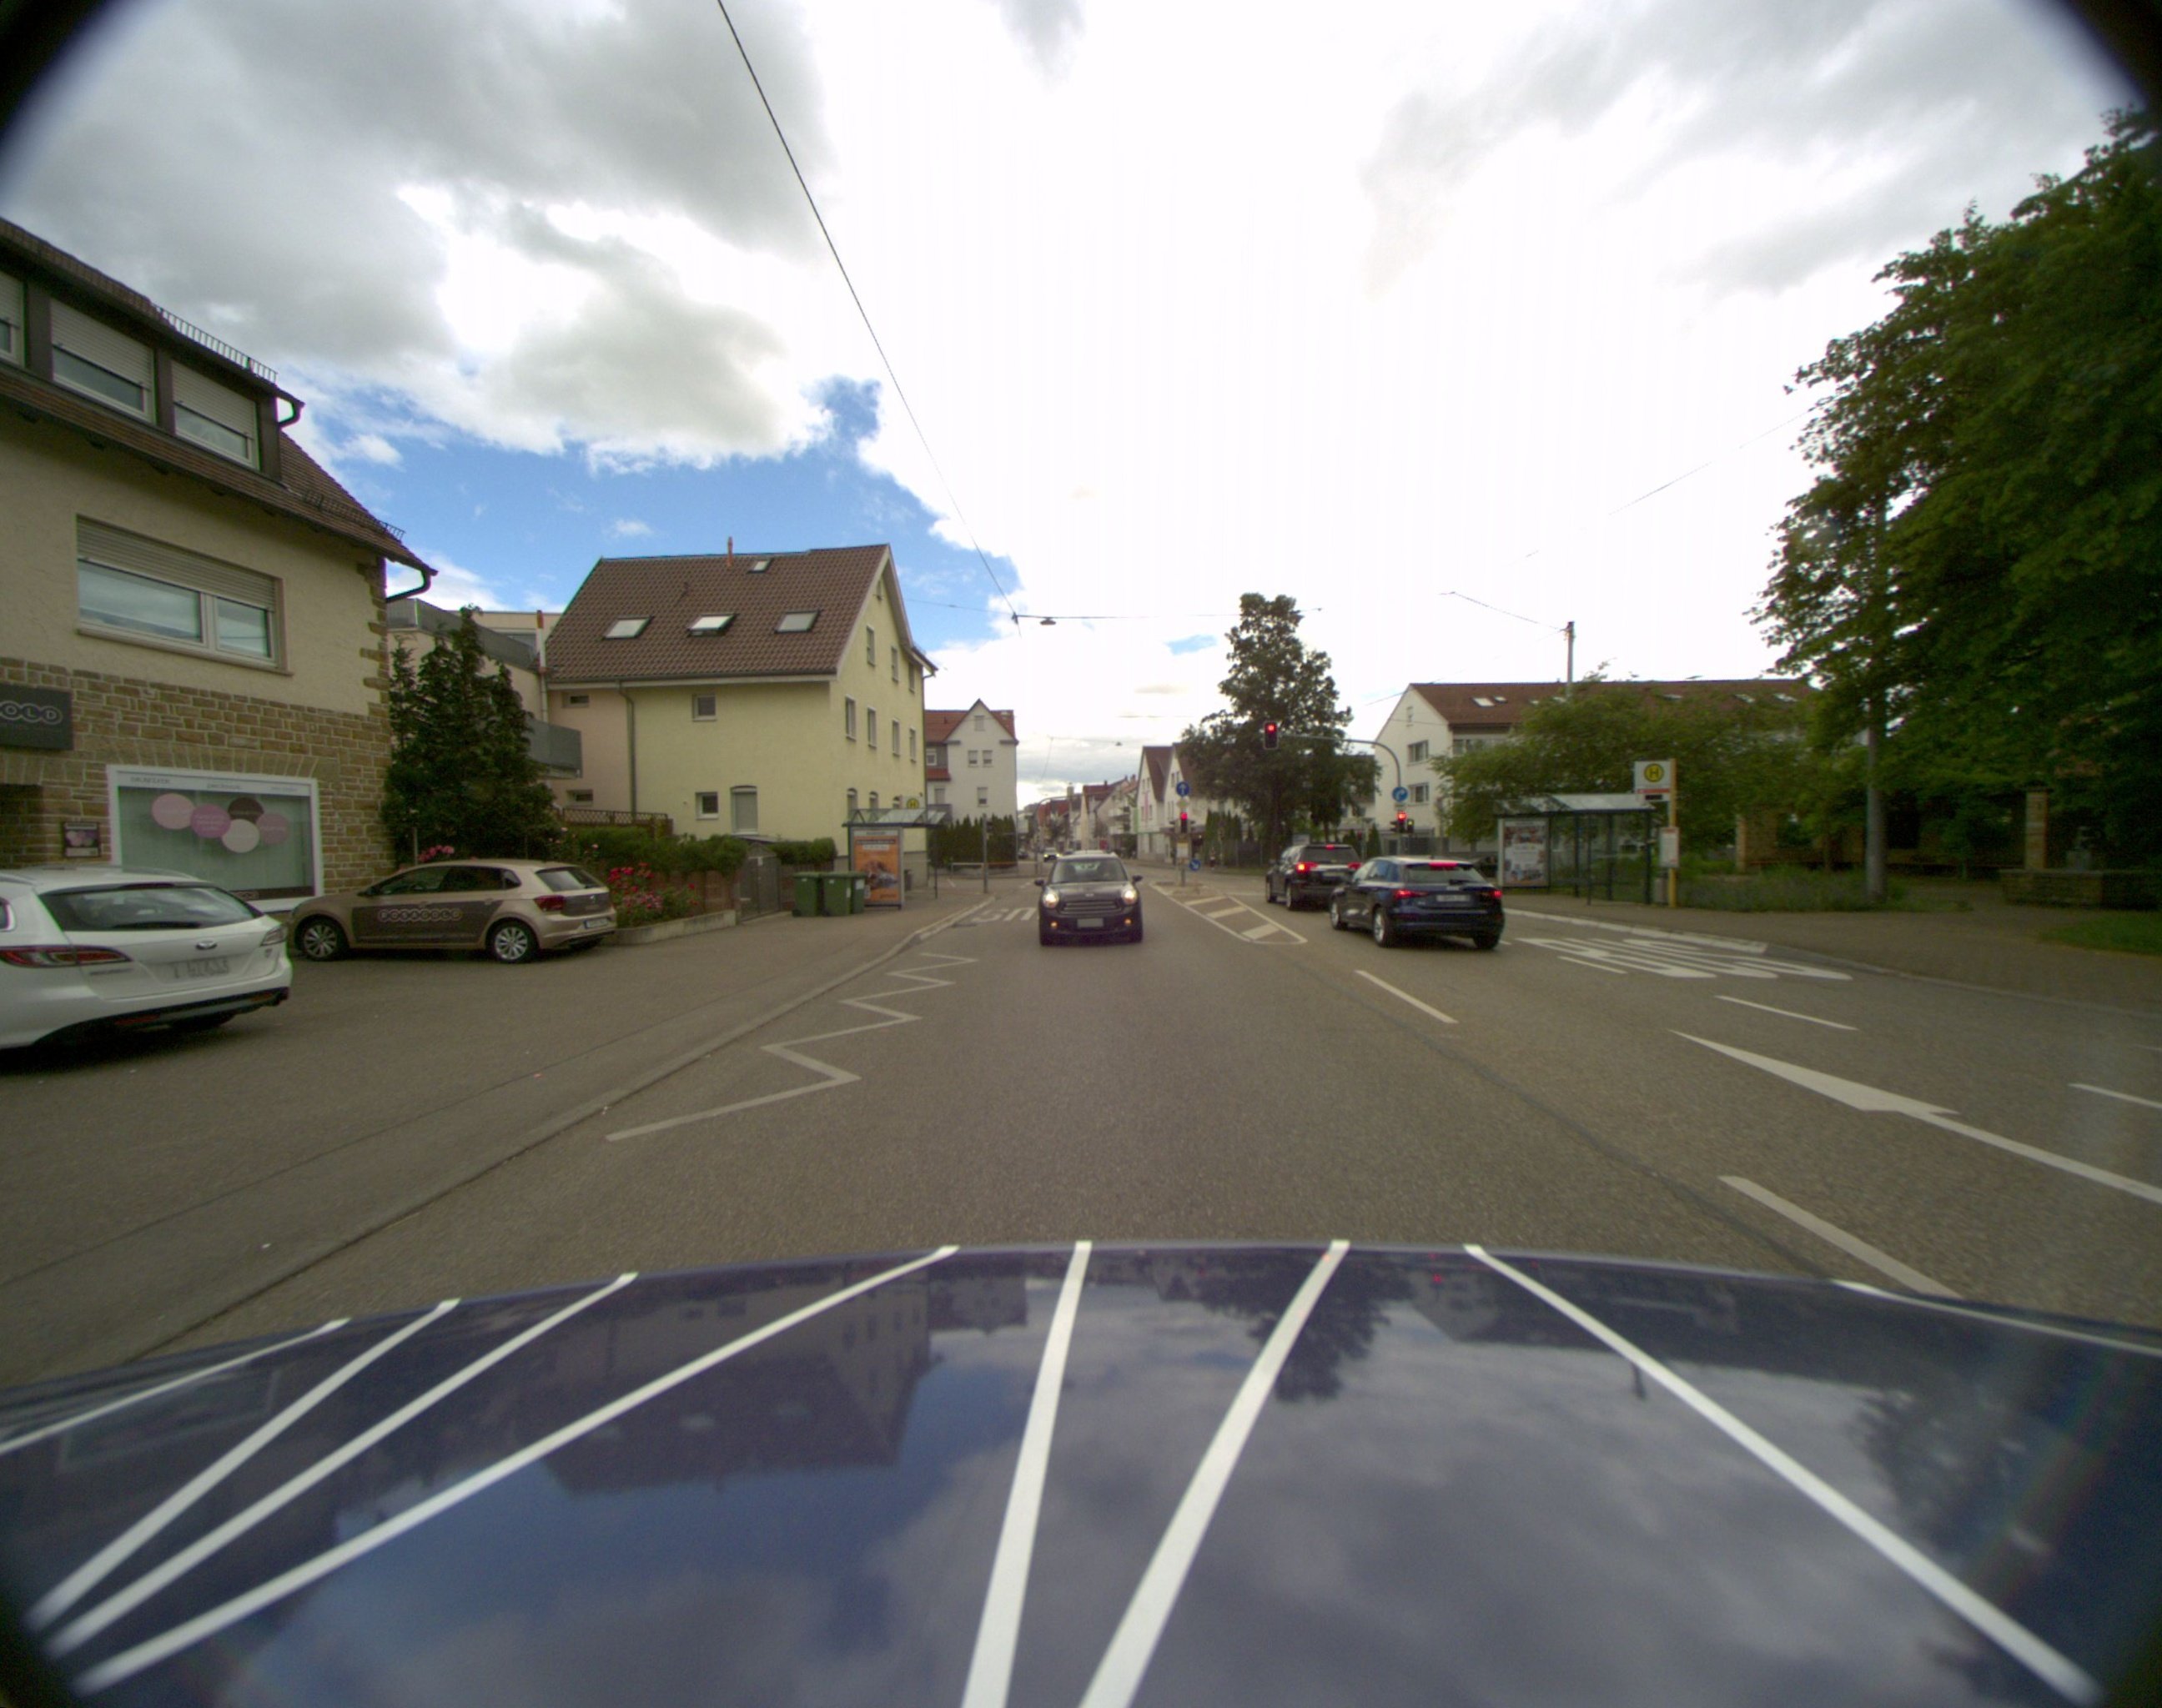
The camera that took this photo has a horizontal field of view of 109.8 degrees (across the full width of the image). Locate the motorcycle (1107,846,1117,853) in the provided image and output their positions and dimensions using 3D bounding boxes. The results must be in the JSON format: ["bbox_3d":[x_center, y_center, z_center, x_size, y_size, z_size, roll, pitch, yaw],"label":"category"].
[{"bbox_3d":[4.770,-0.656,117.451,1.430,1.017,0.525,-3,1,-7],"label":"motorcycle"}]

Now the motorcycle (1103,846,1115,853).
[{"bbox_3d":[4.371,-0.713,119.095,1.835,1.099,0.504,-3,2,-7],"label":"motorcycle"}]

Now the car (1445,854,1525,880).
[{"bbox_3d":[23.037,0.703,43.432,3.642,1.390,1.772,1,1,1],"label":"car"}]

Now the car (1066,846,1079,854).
[{"bbox_3d":[-1.430,-0.673,127.765,1.635,1.404,3.996,0,1,-10],"label":"car"}]

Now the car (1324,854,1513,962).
[{"bbox_3d":[5.479,0.783,12.931,1.567,1.412,4.130,-1,2,3],"label":"car"}]

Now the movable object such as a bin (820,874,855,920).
[{"bbox_3d":[-5.854,1.018,18.293,0.638,1.040,0.585,-2,2,-4],"label":"movable object such as a bin"}]

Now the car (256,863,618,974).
[{"bbox_3d":[-9.158,0.890,11.057,3.813,1.394,1.640,1,2,-1],"label":"car"}]

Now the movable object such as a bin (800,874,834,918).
[{"bbox_3d":[-6.569,1.032,18.952,0.638,1.040,0.585,-1,2,-4],"label":"movable object such as a bin"}]

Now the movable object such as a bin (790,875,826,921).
[{"bbox_3d":[-6.547,1.050,18.252,0.638,1.040,0.585,-1,2,-4],"label":"movable object such as a bin"}]

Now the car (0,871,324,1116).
[{"bbox_3d":[-9.130,0.935,6.053,4.430,1.480,1.865,1,2,3],"label":"car"}]

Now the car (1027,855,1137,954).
[{"bbox_3d":[0.159,0.821,14.206,1.693,1.507,4.001,-2,0,5],"label":"car"}]

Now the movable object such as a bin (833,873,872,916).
[{"bbox_3d":[-5.720,1.008,19.025,0.636,1.040,0.592,-1,2,29],"label":"movable object such as a bin"}]

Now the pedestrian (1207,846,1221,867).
[{"bbox_3d":[10.061,0.177,57.461,0.642,1.596,0.865,-3,2,-16],"label":"pedestrian"}]

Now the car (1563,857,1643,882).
[{"bbox_3d":[31.850,0.920,46.420,3.642,1.390,1.757,2,1,1],"label":"car"}]

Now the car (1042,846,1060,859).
[{"bbox_3d":[-3.722,-0.184,93.783,1.847,1.510,3.997,-3,2,-6],"label":"car"}]

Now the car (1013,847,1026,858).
[{"bbox_3d":[-9.650,-0.219,119.144,1.847,1.510,3.996,-3,2,-8],"label":"car"}]

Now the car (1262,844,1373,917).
[{"bbox_3d":[6.139,0.601,20.289,1.762,1.626,4.595,1,2,4],"label":"car"}]

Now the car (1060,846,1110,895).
[{"bbox_3d":[0.156,0.580,30.388,1.811,1.556,4.615,-2,3,0],"label":"car"}]
